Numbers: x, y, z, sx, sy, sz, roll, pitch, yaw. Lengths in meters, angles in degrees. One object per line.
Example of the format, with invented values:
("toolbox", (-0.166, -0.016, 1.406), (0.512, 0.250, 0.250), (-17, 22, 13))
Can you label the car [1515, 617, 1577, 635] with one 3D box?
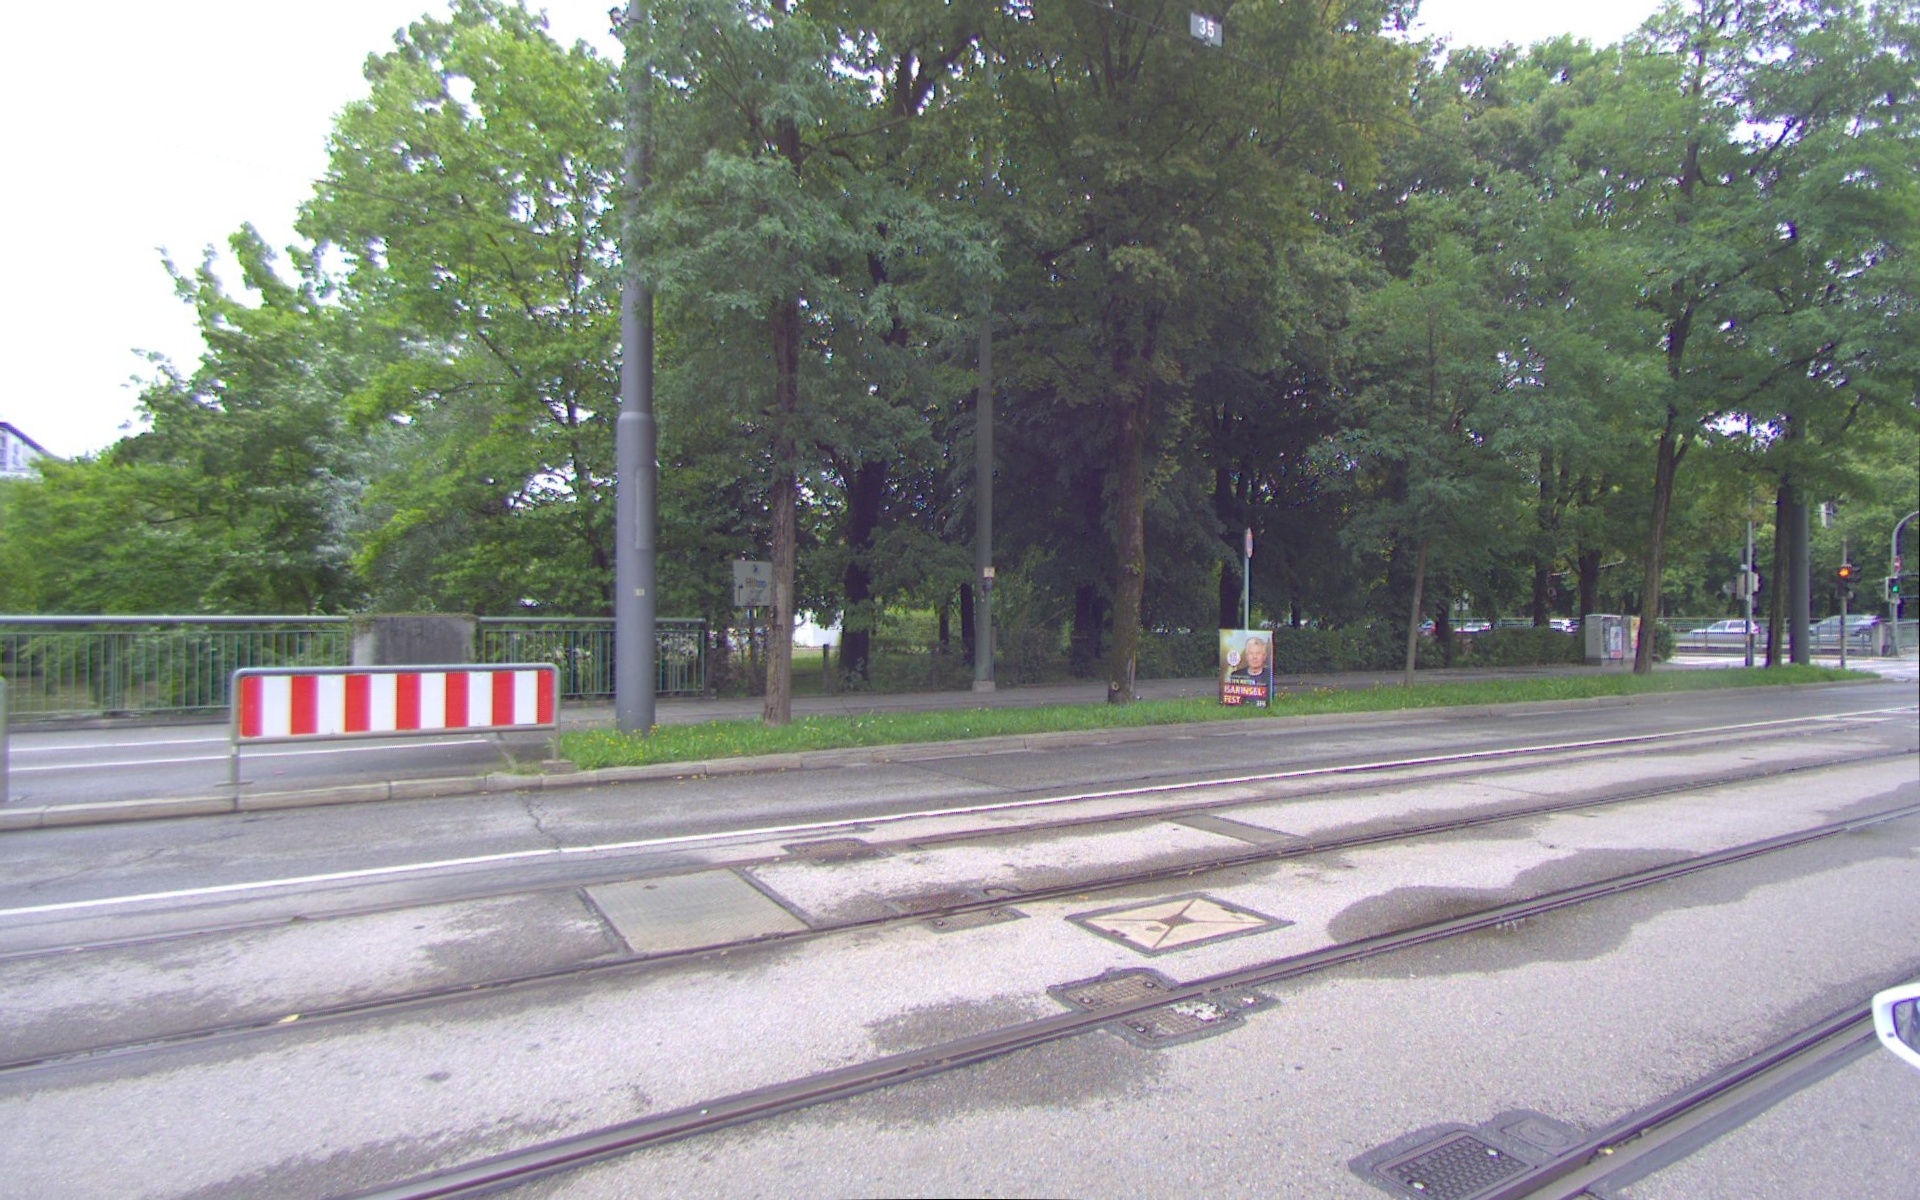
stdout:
("car", (42.527, 1.872, 72.960), (1.238, 1.201, 3.704), (1, 1, -34))

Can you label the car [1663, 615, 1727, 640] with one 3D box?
("car", (47.491, 1.768, 64.919), (1.238, 1.471, 3.090), (1, 1, -34))

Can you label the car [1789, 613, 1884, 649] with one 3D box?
("car", (51.568, 1.778, 59.160), (1.476, 1.912, 3.994), (1, 1, -36))

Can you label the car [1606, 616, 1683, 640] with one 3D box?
("car", (46.015, 1.852, 67.592), (1.703, 1.423, 3.900), (1, 0, -34))
